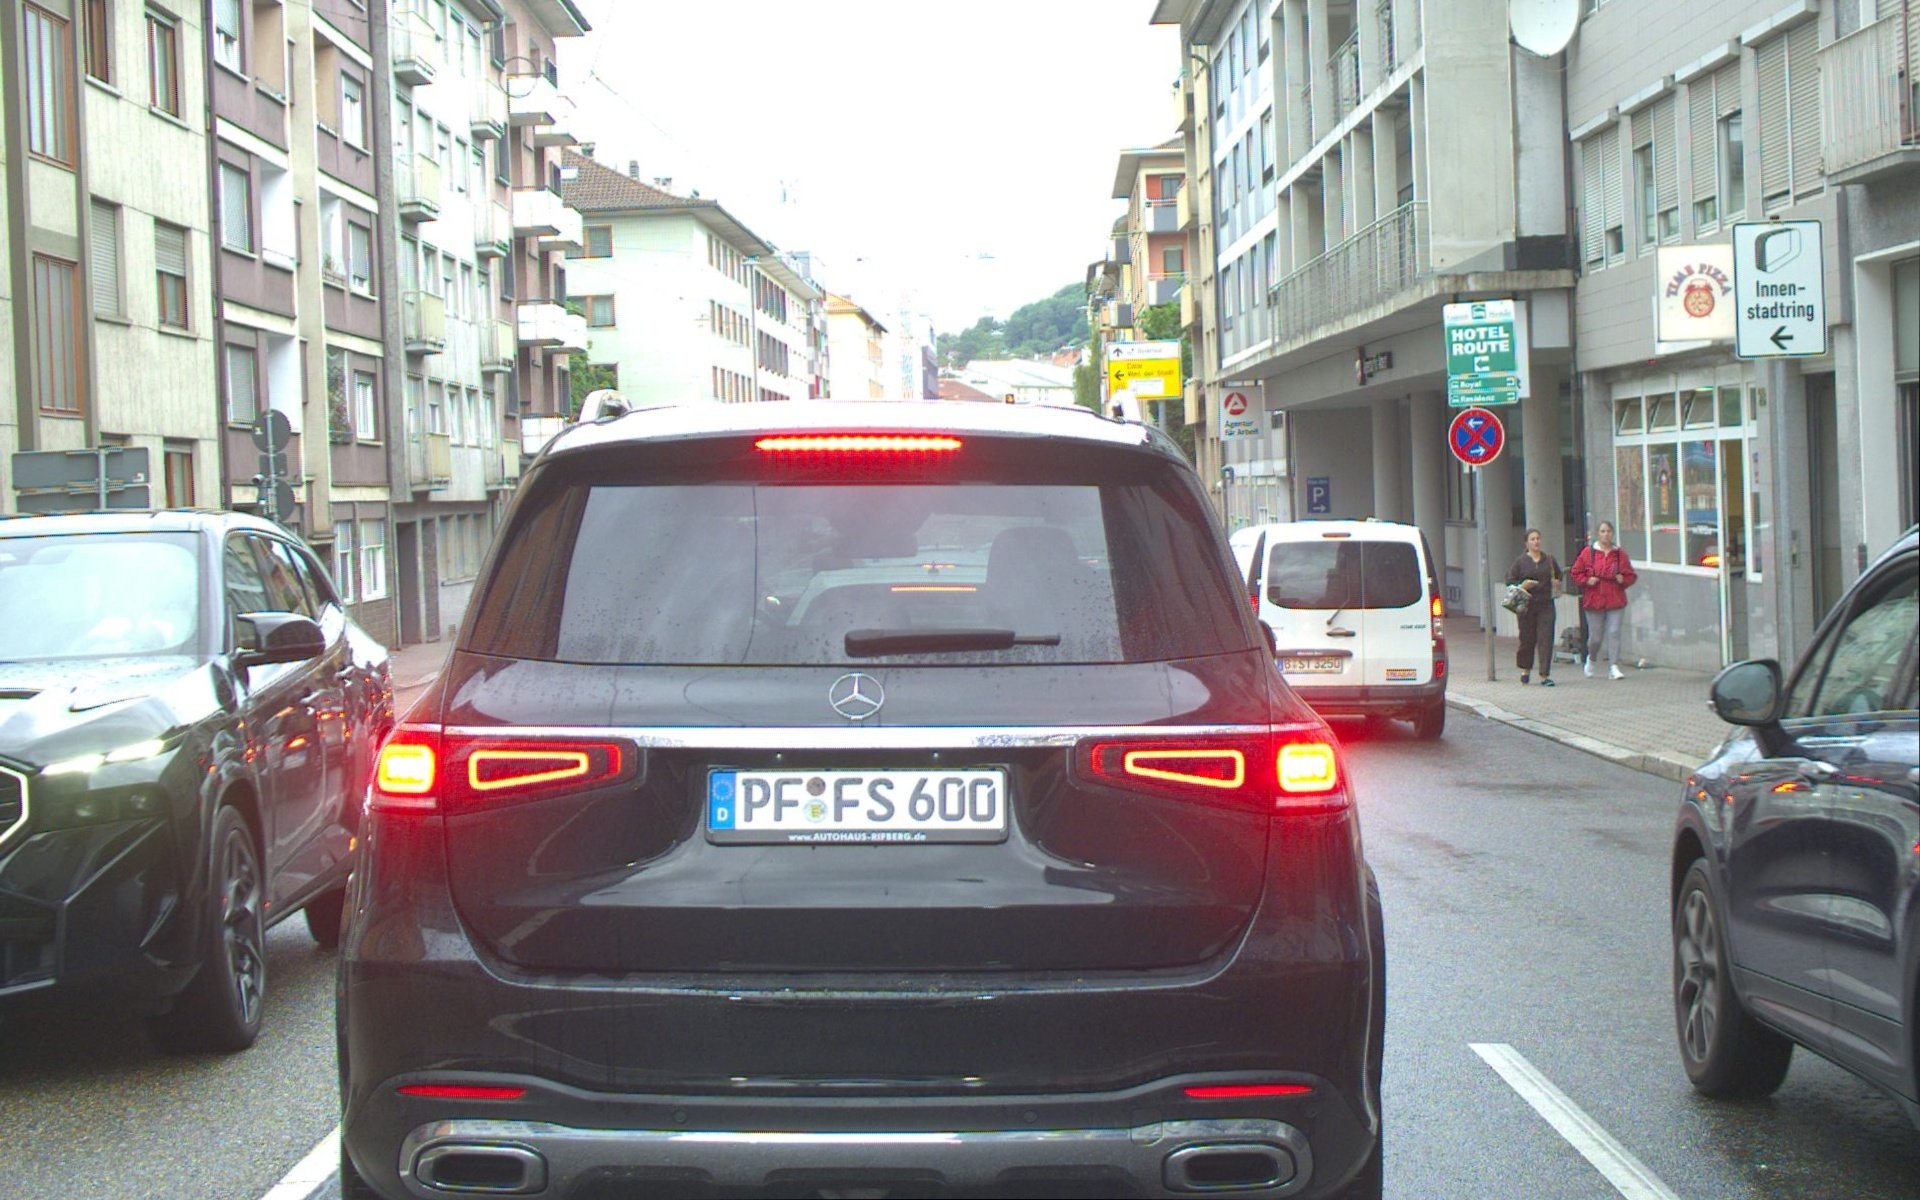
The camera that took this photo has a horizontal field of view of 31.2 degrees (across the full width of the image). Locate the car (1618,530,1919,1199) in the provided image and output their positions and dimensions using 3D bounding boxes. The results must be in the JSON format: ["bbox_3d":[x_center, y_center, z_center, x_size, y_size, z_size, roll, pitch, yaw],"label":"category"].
[{"bbox_3d":[2.820,0.622,7.979,1.767,1.575,4.000,-1,1,-1],"label":"car"}]
